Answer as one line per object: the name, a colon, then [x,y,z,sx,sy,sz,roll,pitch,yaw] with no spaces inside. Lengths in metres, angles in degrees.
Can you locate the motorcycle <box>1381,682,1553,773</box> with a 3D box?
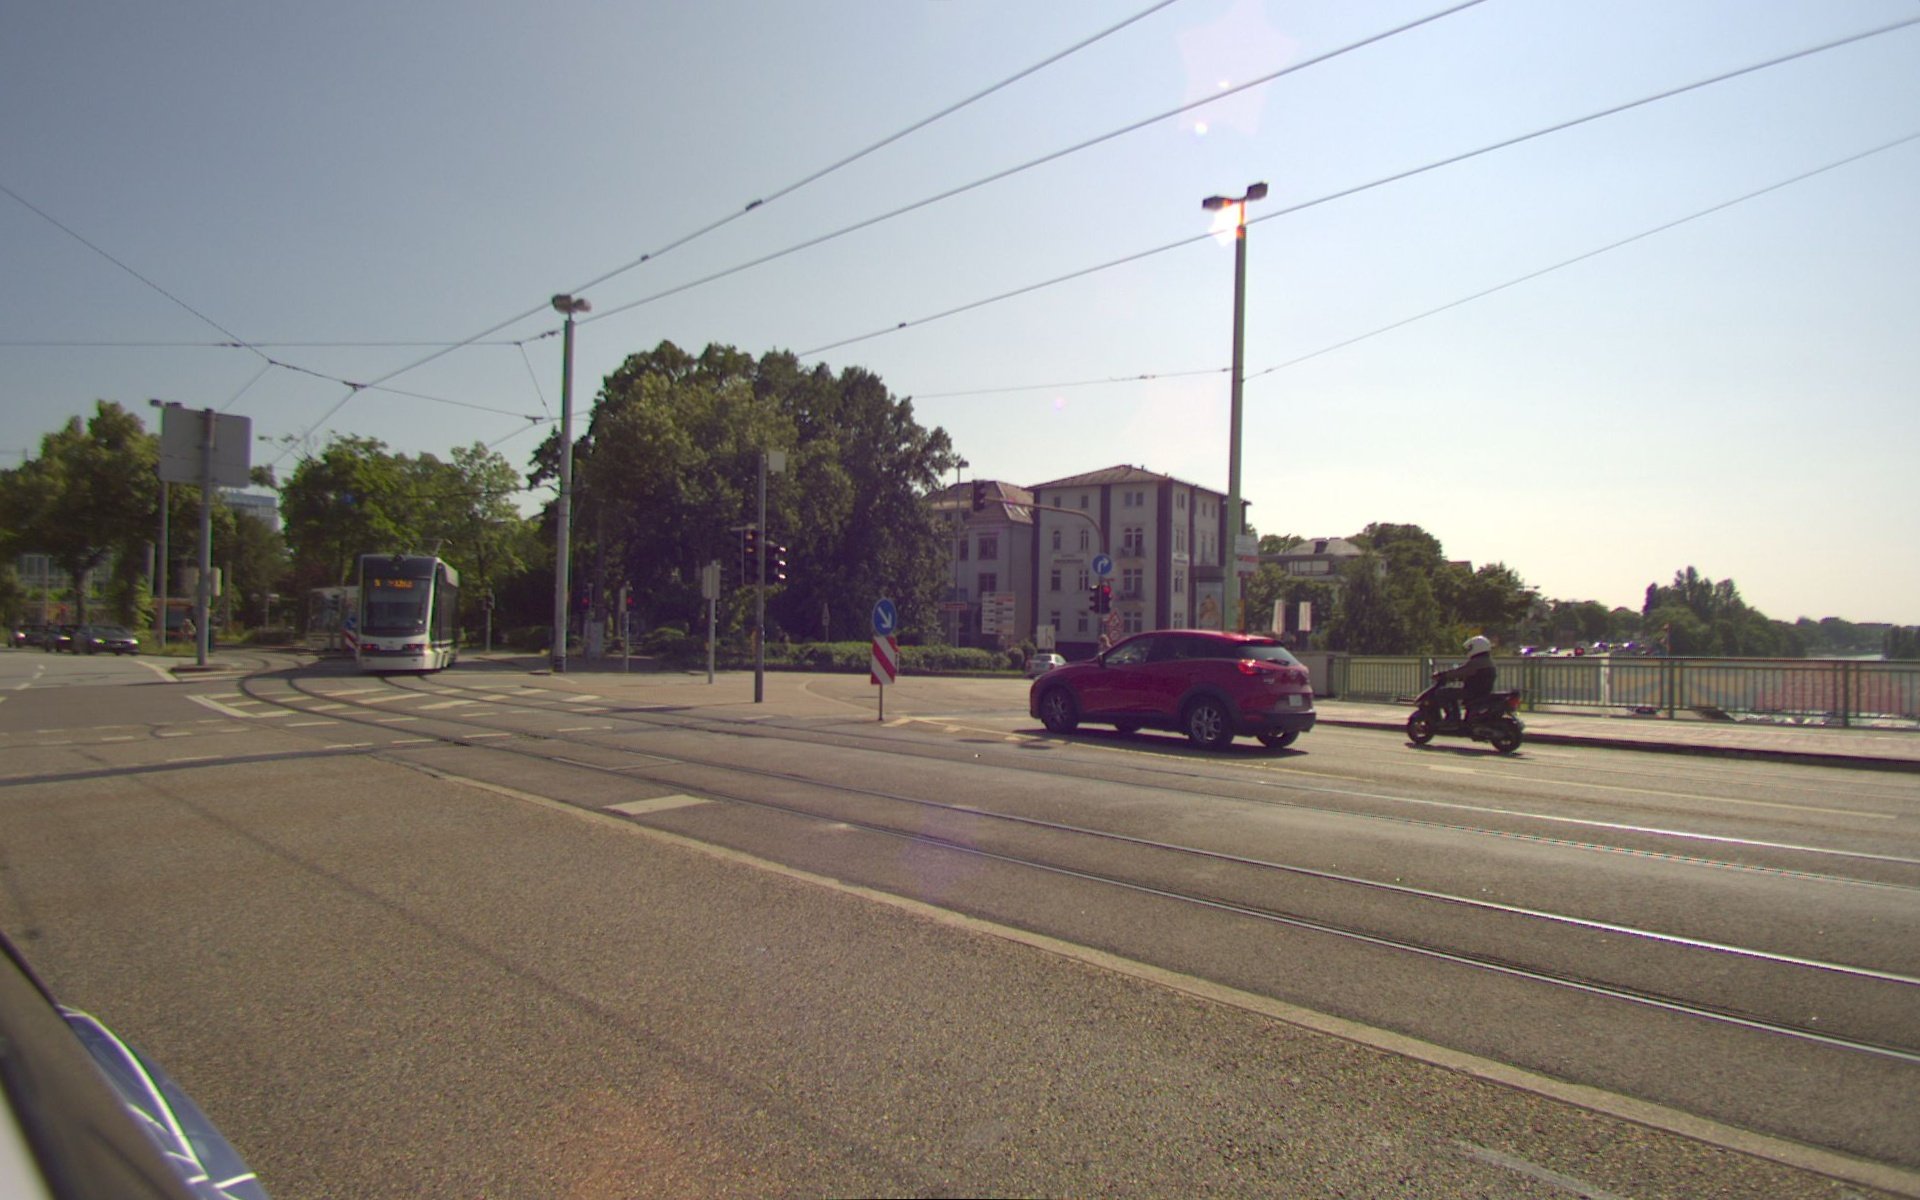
motorcycle: [6.895,1.695,13.824,1.951,1.033,0.836,-1,-1,42]

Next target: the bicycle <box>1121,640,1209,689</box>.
bicycle: [4.843,1.525,23.962,1.890,1.122,0.762,1,-2,-6]

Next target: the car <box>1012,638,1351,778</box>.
car: [2.897,1.331,13.892,1.969,1.526,4.195,2,-2,-42]

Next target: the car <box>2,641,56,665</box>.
car: [-53.795,3.058,58.450,3.909,1.318,1.617,-1,-4,38]

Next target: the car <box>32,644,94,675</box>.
car: [-45.008,2.968,50.765,3.998,1.422,1.774,-1,-4,41]

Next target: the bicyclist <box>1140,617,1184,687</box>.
bicyclist: [4.782,1.228,23.966,0.760,1.621,0.881,1,-2,-7]

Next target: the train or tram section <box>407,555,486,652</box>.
train or tram section: [-21.900,0.351,43.535,2.370,3.709,9.650,1,-3,-24]

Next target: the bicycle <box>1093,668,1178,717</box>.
bicycle: [4.287,2.260,24.719,1.889,1.122,0.762,1,-2,-8]

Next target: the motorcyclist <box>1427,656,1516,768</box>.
motorcyclist: [6.962,1.489,13.782,0.897,1.412,0.836,-1,-1,41]

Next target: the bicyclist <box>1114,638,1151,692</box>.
bicyclist: [5.454,2.055,32.064,0.865,1.687,0.774,1,-2,-18]

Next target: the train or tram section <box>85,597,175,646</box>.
train or tram section: [-62.175,1.657,75.678,12.399,3.429,2.732,-1,-4,39]

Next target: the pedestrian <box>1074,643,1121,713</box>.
pedestrian: [3.696,2.079,27.232,1.142,1.816,0.940,0,-2,0]

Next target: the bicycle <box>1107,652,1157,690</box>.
bicycle: [5.437,2.233,32.076,0.748,1.122,1.926,1,-2,-18]

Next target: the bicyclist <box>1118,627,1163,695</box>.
bicyclist: [4.415,1.476,24.757,0.866,1.621,0.773,1,-2,-9]

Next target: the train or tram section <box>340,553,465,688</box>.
train or tram section: [-18.671,0.839,34.552,2.435,3.806,11.888,1,-3,-23]

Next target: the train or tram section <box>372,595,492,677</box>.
train or tram section: [-26.619,1.749,50.785,9.172,3.806,2.508,-1,-3,44]

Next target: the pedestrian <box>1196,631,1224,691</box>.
pedestrian: [7.722,1.867,31.245,0.686,1.806,0.701,1,-2,0]

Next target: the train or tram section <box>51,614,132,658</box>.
train or tram section: [-71.738,2.946,83.421,12.397,3.429,2.733,-1,-4,39]

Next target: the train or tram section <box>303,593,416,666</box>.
train or tram section: [-33.933,1.692,57.018,9.163,3.806,2.511,-1,-5,41]

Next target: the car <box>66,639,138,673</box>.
car: [-39.935,2.589,47.063,4.744,1.497,1.730,-1,-4,40]

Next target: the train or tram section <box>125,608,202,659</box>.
train or tram section: [-54.975,2.324,69.776,5.878,3.429,2.733,-1,-4,38]

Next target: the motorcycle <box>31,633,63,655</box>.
motorcycle: [-49.968,2.389,55.386,2.350,1.172,0.892,-1,-4,38]
